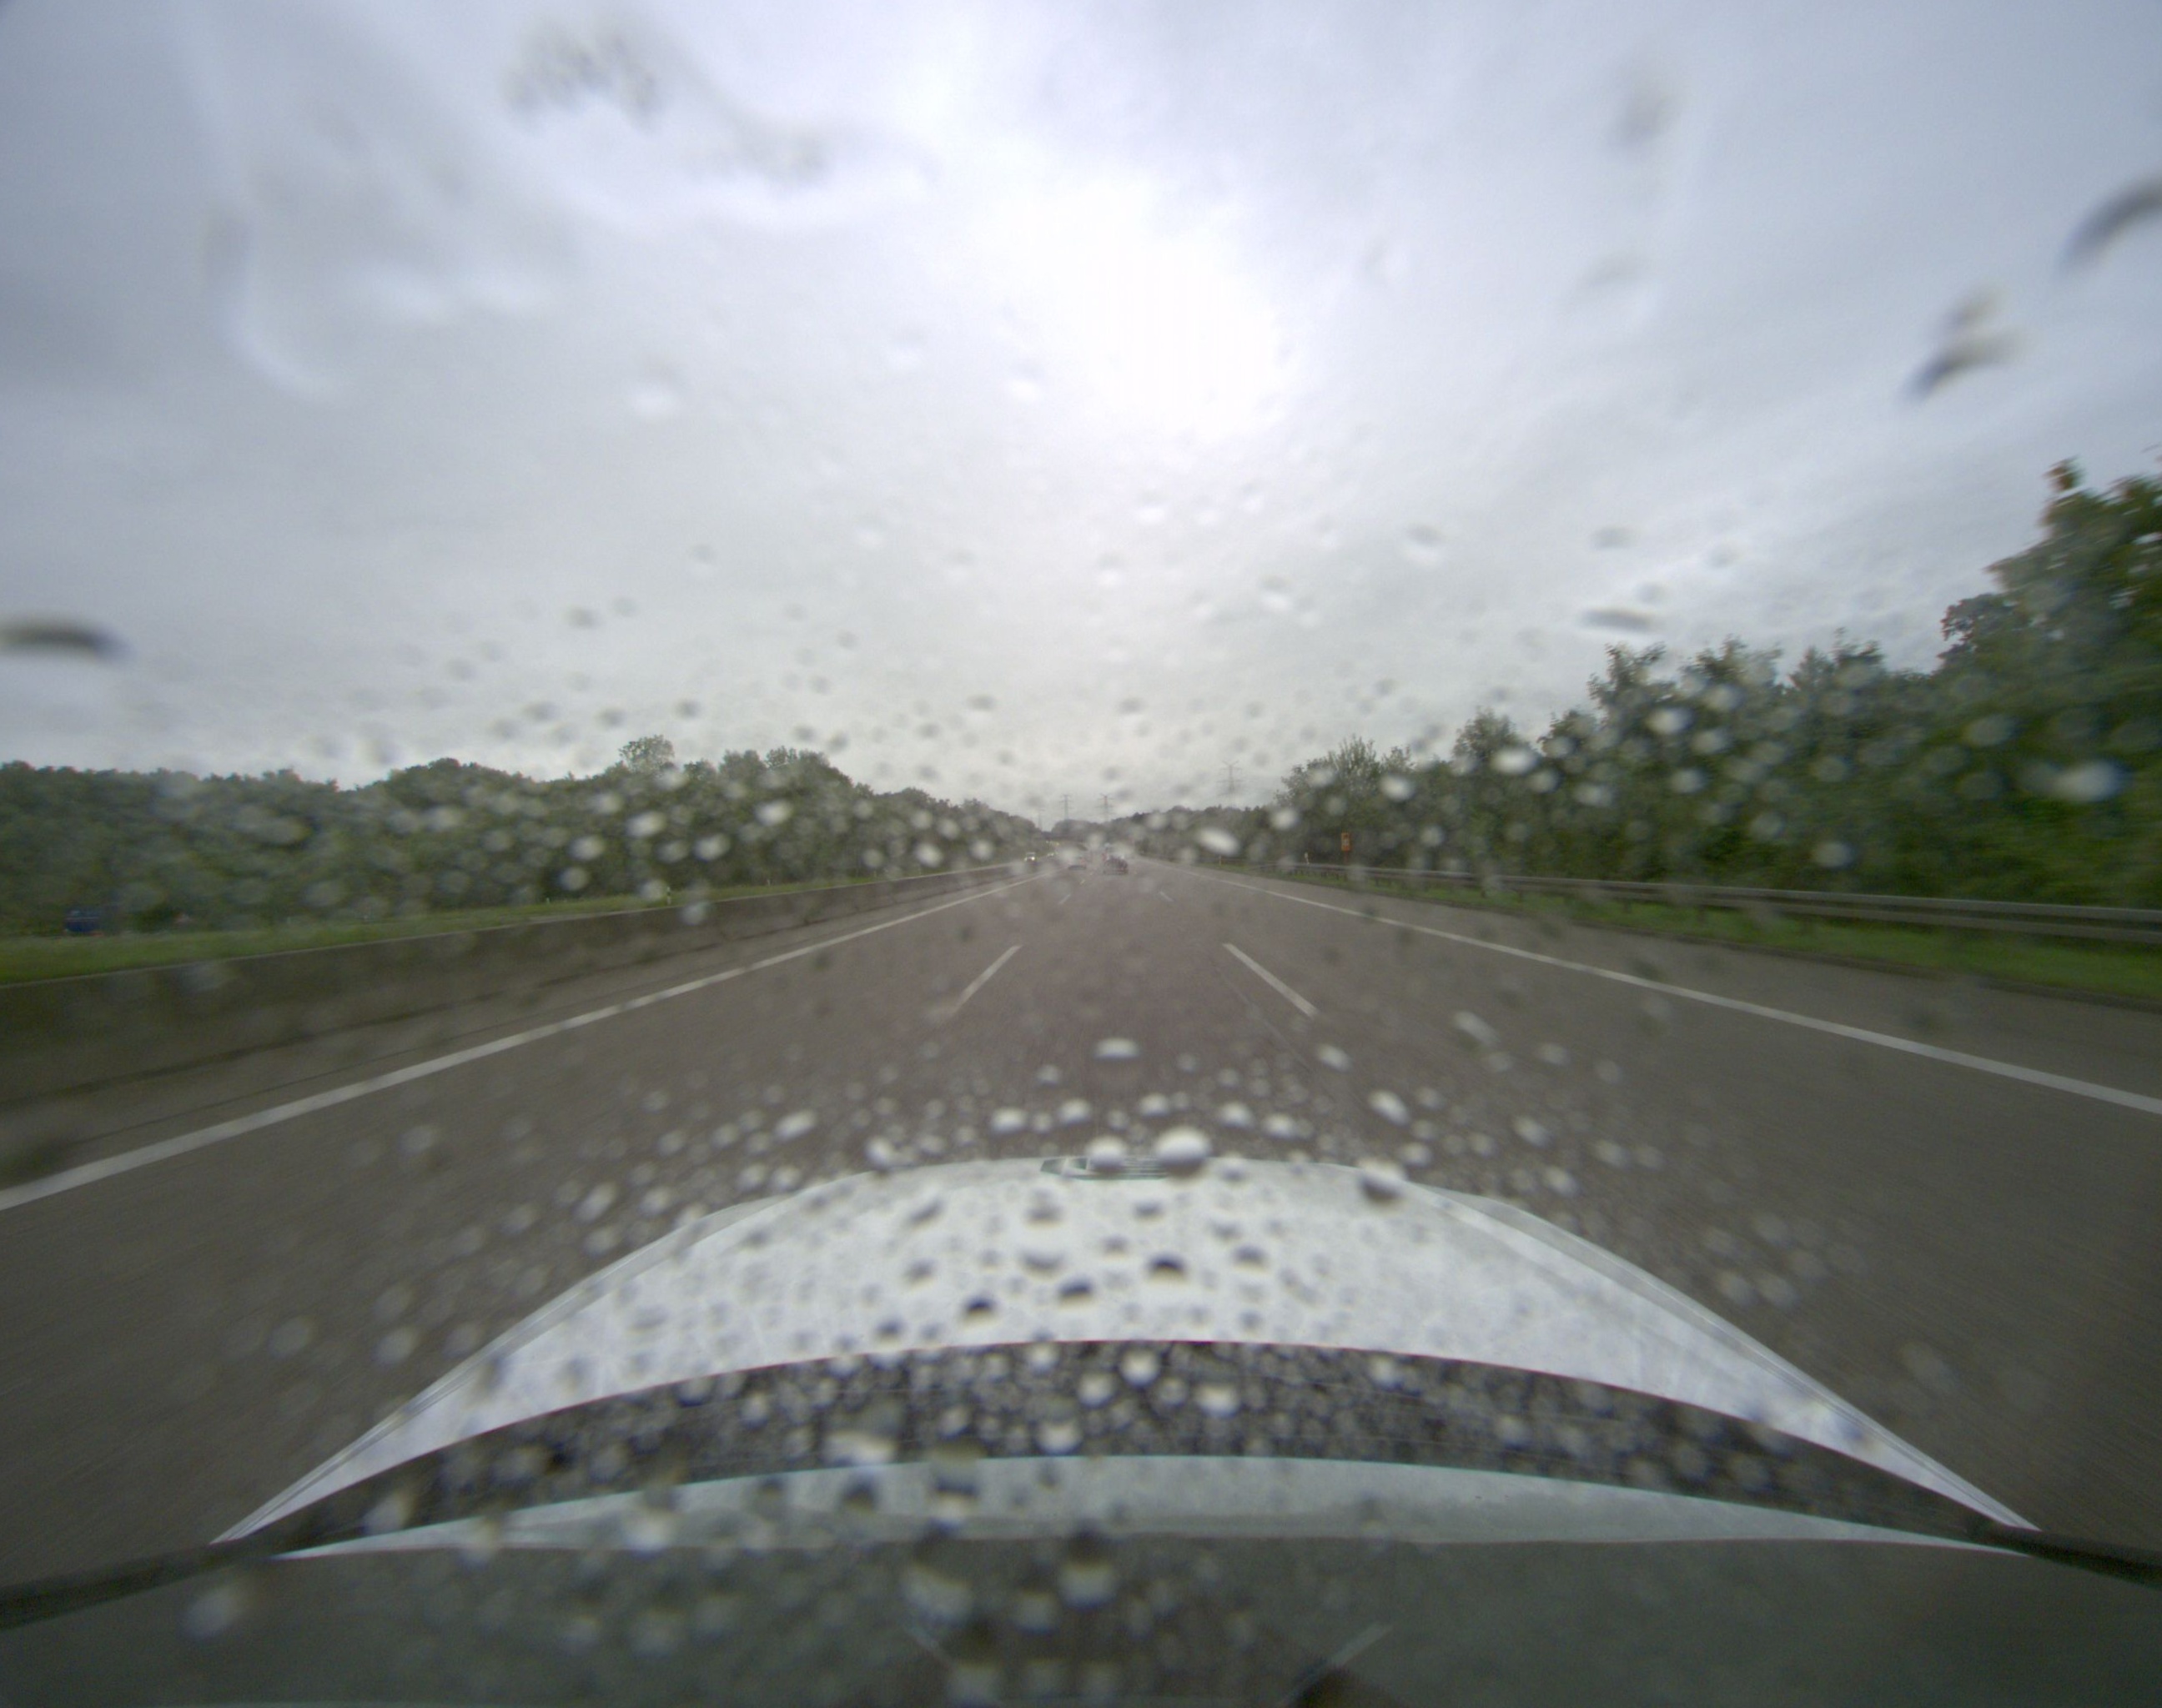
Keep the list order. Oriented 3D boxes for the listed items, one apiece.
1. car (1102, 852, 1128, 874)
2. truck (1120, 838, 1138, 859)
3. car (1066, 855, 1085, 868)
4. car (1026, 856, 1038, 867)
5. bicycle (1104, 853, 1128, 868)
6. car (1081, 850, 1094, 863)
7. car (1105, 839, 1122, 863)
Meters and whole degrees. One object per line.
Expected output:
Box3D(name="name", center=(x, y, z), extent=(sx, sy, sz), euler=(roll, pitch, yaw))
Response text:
Box3D(name="car", center=(2.602, 0.635, 63.095), extent=(1.853, 1.568, 4.965), euler=(-1, 1, 1))
Box3D(name="truck", center=(10.529, -1.326, 178.811), extent=(3.589, 4.332, 13.207), euler=(-2, 1, 2))
Box3D(name="car", center=(-0.533, 0.746, 82.460), extent=(1.860, 1.288, 4.000), euler=(-2, 0, 0))
Box3D(name="car", center=(-9.463, 1.430, 158.430), extent=(1.987, 2.013, 5.760), euler=(-2, 0, 0))
Box3D(name="bicycle", center=(2.550, 0.486, 60.144), extent=(1.747, 1.090, 0.914), euler=(-2, -1, 1))
Box3D(name="car", center=(0.916, 0.355, 120.086), extent=(1.840, 1.772, 4.000), euler=(-2, 0, 0))
Box3D(name="car", center=(4.031, -0.328, 101.229), extent=(1.986, 2.864, 4.002), euler=(0, -1, 2))
